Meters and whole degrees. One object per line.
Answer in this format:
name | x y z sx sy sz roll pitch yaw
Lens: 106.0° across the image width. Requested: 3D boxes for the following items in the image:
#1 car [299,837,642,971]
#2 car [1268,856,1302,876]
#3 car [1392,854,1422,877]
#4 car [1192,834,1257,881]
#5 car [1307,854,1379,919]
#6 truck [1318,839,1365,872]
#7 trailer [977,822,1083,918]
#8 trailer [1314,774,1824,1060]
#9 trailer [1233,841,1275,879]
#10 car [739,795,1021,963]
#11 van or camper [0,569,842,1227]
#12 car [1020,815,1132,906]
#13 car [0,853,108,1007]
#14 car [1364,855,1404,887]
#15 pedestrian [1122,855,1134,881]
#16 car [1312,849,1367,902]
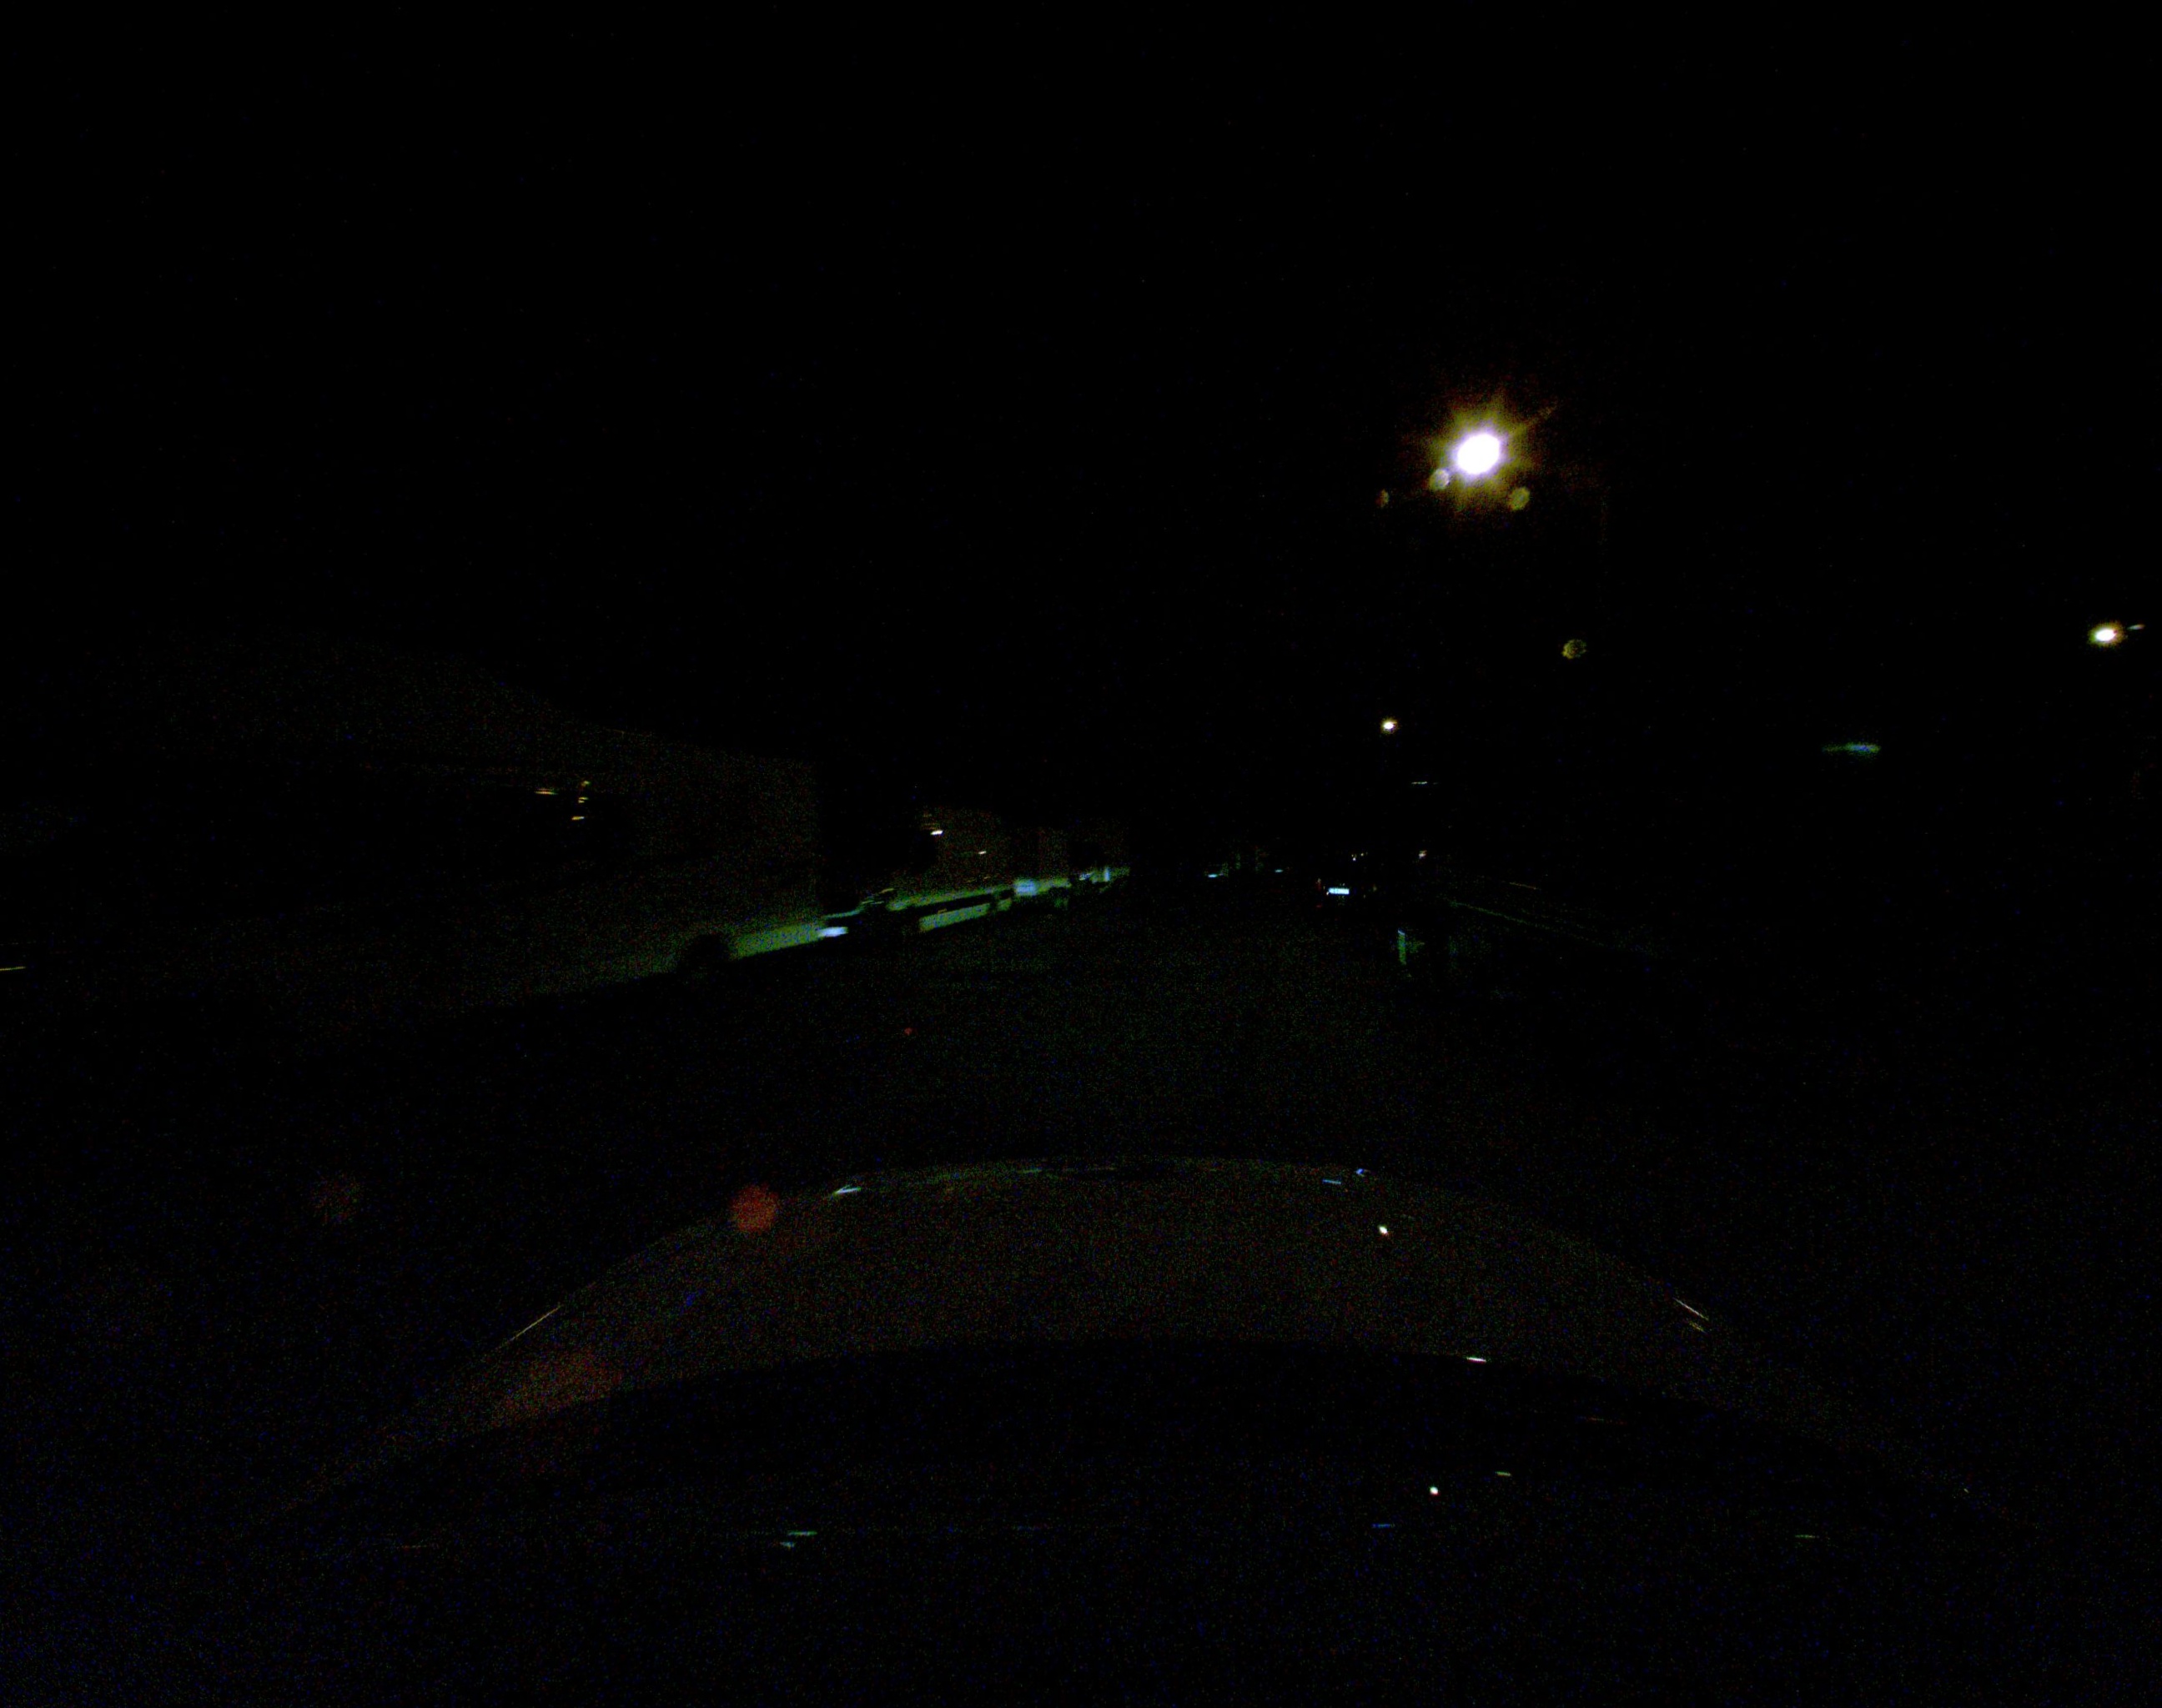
car | -15.154 1.017 20.805 1.974 2.841 6.723 2 2 38
car | 18.778 1.072 74.967 1.975 1.699 4.232 1 0 29
car | 26.699 0.908 66.667 1.704 1.821 4.024 1 0 29
car | 10.477 0.203 58.917 2.495 3.171 7.181 -1 0 27
car | 7.436 0.850 23.435 1.708 1.661 4.015 1 0 14
truck | 29.221 0.077 90.984 1.974 3.403 9.036 2 2 37
trailer | -1.361 0.417 23.369 1.979 2.527 3.581 -1 0 14
trailer | 4.587 0.472 8.873 1.561 2.160 5.197 -1 0 -13
trailer | 13.796 0.422 64.736 1.975 2.813 4.732 0 1 28
car | -3.468 0.383 16.326 2.502 2.606 7.116 -1 0 13
van or camper | -5.385 0.190 7.503 2.500 3.094 7.475 -1 0 15
car | 0.044 0.185 30.047 2.502 2.927 7.226 -1 0 12
car | -20.547 1.328 12.764 1.974 2.554 6.723 2 2 38
car | 18.731 1.016 50.215 1.704 1.821 4.024 1 0 29
pedestrian | 3.109 0.939 53.709 0.674 1.652 0.652 -1 2 -5
car | 9.673 0.742 30.711 1.708 1.821 4.015 1 0 14
